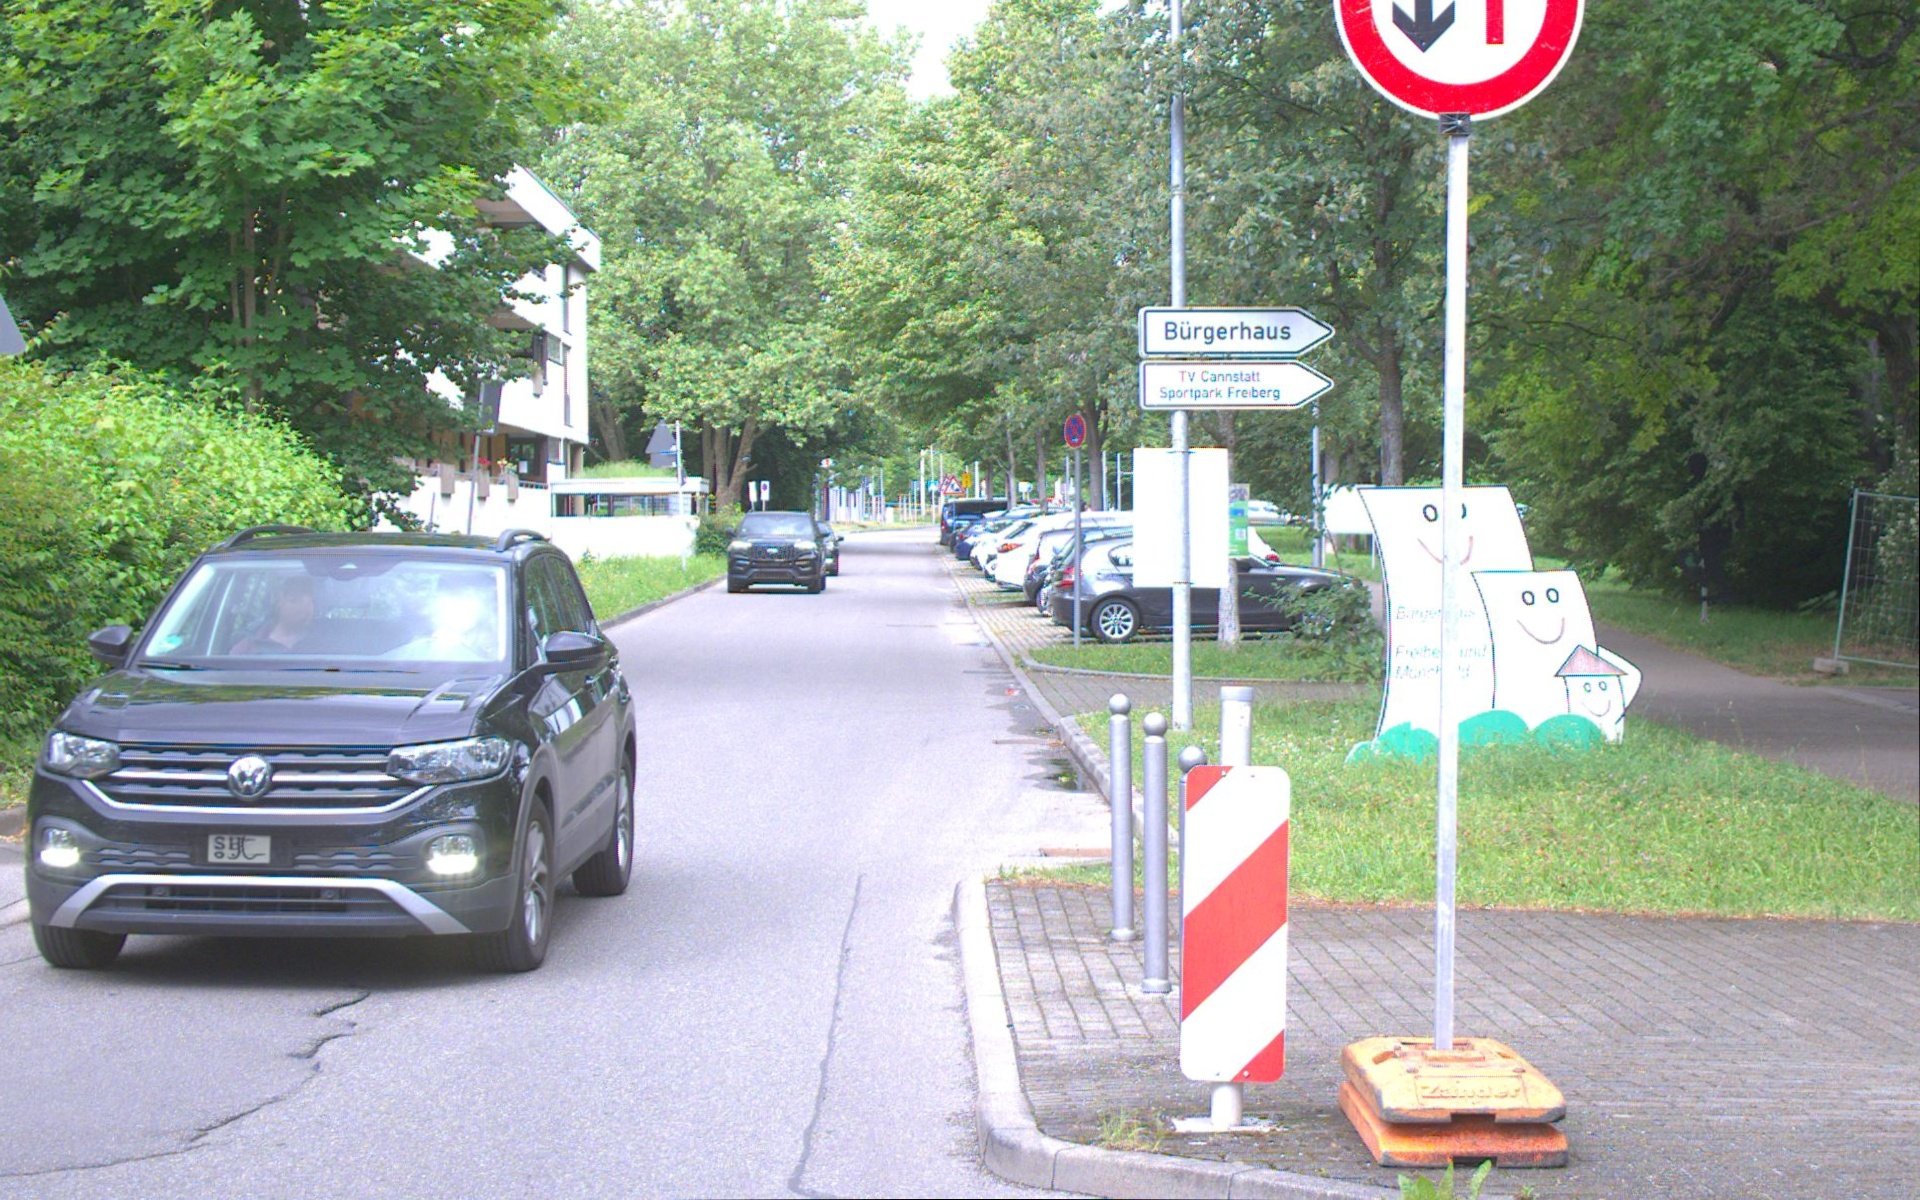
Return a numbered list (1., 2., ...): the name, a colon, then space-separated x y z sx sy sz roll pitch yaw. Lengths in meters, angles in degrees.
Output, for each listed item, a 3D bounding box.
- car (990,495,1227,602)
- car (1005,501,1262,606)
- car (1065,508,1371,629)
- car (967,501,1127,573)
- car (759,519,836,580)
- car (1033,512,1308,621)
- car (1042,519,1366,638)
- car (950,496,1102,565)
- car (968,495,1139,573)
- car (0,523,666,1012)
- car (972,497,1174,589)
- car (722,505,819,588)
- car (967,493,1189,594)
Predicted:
1. car: 2.693 -0.947 63.065 4.062 1.681 1.823 -4 1 -4
2. car: 2.893 -0.786 57.892 4.062 1.483 1.823 -4 1 -4
3. car: 3.575 -0.428 48.157 4.063 1.563 1.822 -2 0 -1
4. car: 2.324 -1.705 92.597 4.062 1.681 1.823 -4 1 -4
5. car: -4.289 -1.352 91.195 1.968 1.570 4.339 0 1 -2
6. car: 3.213 -0.532 53.074 4.063 1.563 1.823 -2 1 -1
7. car: 3.184 -0.276 45.428 4.063 1.429 2.000 -2 0 -1
8. car: 1.856 -1.967 97.458 4.062 1.681 1.823 -4 1 -4
9. car: 2.331 -1.667 86.659 4.062 1.681 1.823 -4 1 -4
10. car: -2.318 0.496 13.376 1.803 1.586 4.296 0 1 2
11. car: 2.407 -1.230 73.640 4.062 1.681 1.823 -4 1 -4
12. car: -4.052 -1.165 74.061 1.968 1.741 4.339 0 1 -2
13. car: 2.281 -1.105 66.991 4.062 1.681 1.823 -4 1 -4
